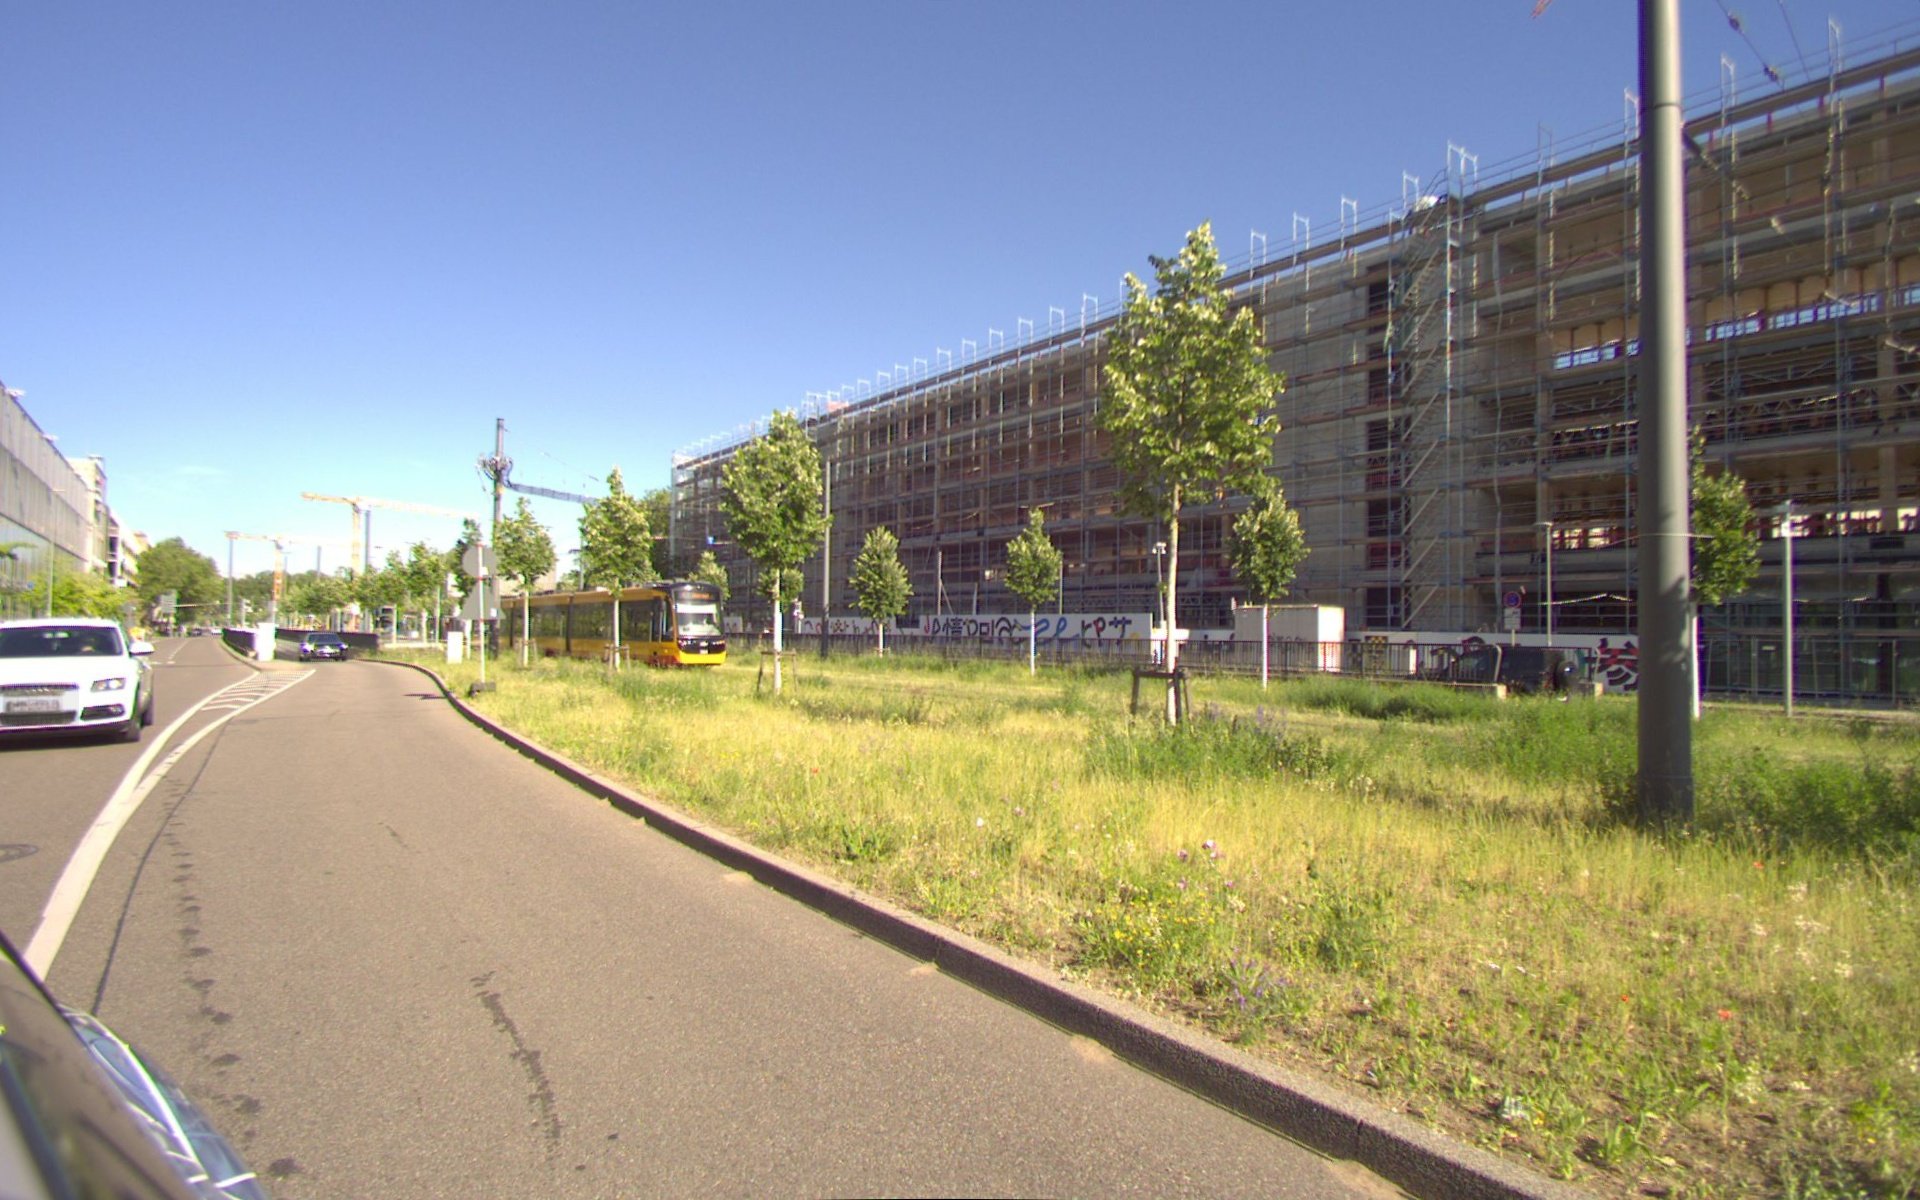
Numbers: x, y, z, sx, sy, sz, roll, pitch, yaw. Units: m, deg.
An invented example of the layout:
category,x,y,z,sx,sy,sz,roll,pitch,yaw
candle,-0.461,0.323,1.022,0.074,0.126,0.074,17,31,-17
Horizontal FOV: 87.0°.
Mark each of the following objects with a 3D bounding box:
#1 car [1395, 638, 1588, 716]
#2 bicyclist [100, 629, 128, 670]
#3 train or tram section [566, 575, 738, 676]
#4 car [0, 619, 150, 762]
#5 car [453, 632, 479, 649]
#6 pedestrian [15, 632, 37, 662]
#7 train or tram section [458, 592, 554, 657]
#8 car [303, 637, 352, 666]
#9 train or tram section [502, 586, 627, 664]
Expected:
category,x,y,z,sx,sy,sz,roll,pitch,yaw
car,14.595,2.043,27.993,1.884,1.933,4.338,2,-3,-37
bicyclist,-30.970,1.795,37.028,0.744,1.473,0.588,1,-2,-42
train or tram section,-13.343,1.111,42.644,2.778,3.666,12.818,3,-3,-36
car,-12.115,1.101,13.500,1.904,1.646,4.009,0,-2,-37
car,-68.096,5.567,139.463,2.301,2.175,4.406,2,-3,-37
pedestrian,-62.259,3.137,67.482,0.864,1.938,0.897,5,-3,-37
train or tram section,-28.625,1.558,63.345,2.778,3.666,12.818,3,-3,-36
car,-32.890,2.654,52.584,1.897,1.454,4.187,2,-3,-35
train or tram section,-20.960,1.342,53.005,2.778,3.666,12.818,3,-3,-36
